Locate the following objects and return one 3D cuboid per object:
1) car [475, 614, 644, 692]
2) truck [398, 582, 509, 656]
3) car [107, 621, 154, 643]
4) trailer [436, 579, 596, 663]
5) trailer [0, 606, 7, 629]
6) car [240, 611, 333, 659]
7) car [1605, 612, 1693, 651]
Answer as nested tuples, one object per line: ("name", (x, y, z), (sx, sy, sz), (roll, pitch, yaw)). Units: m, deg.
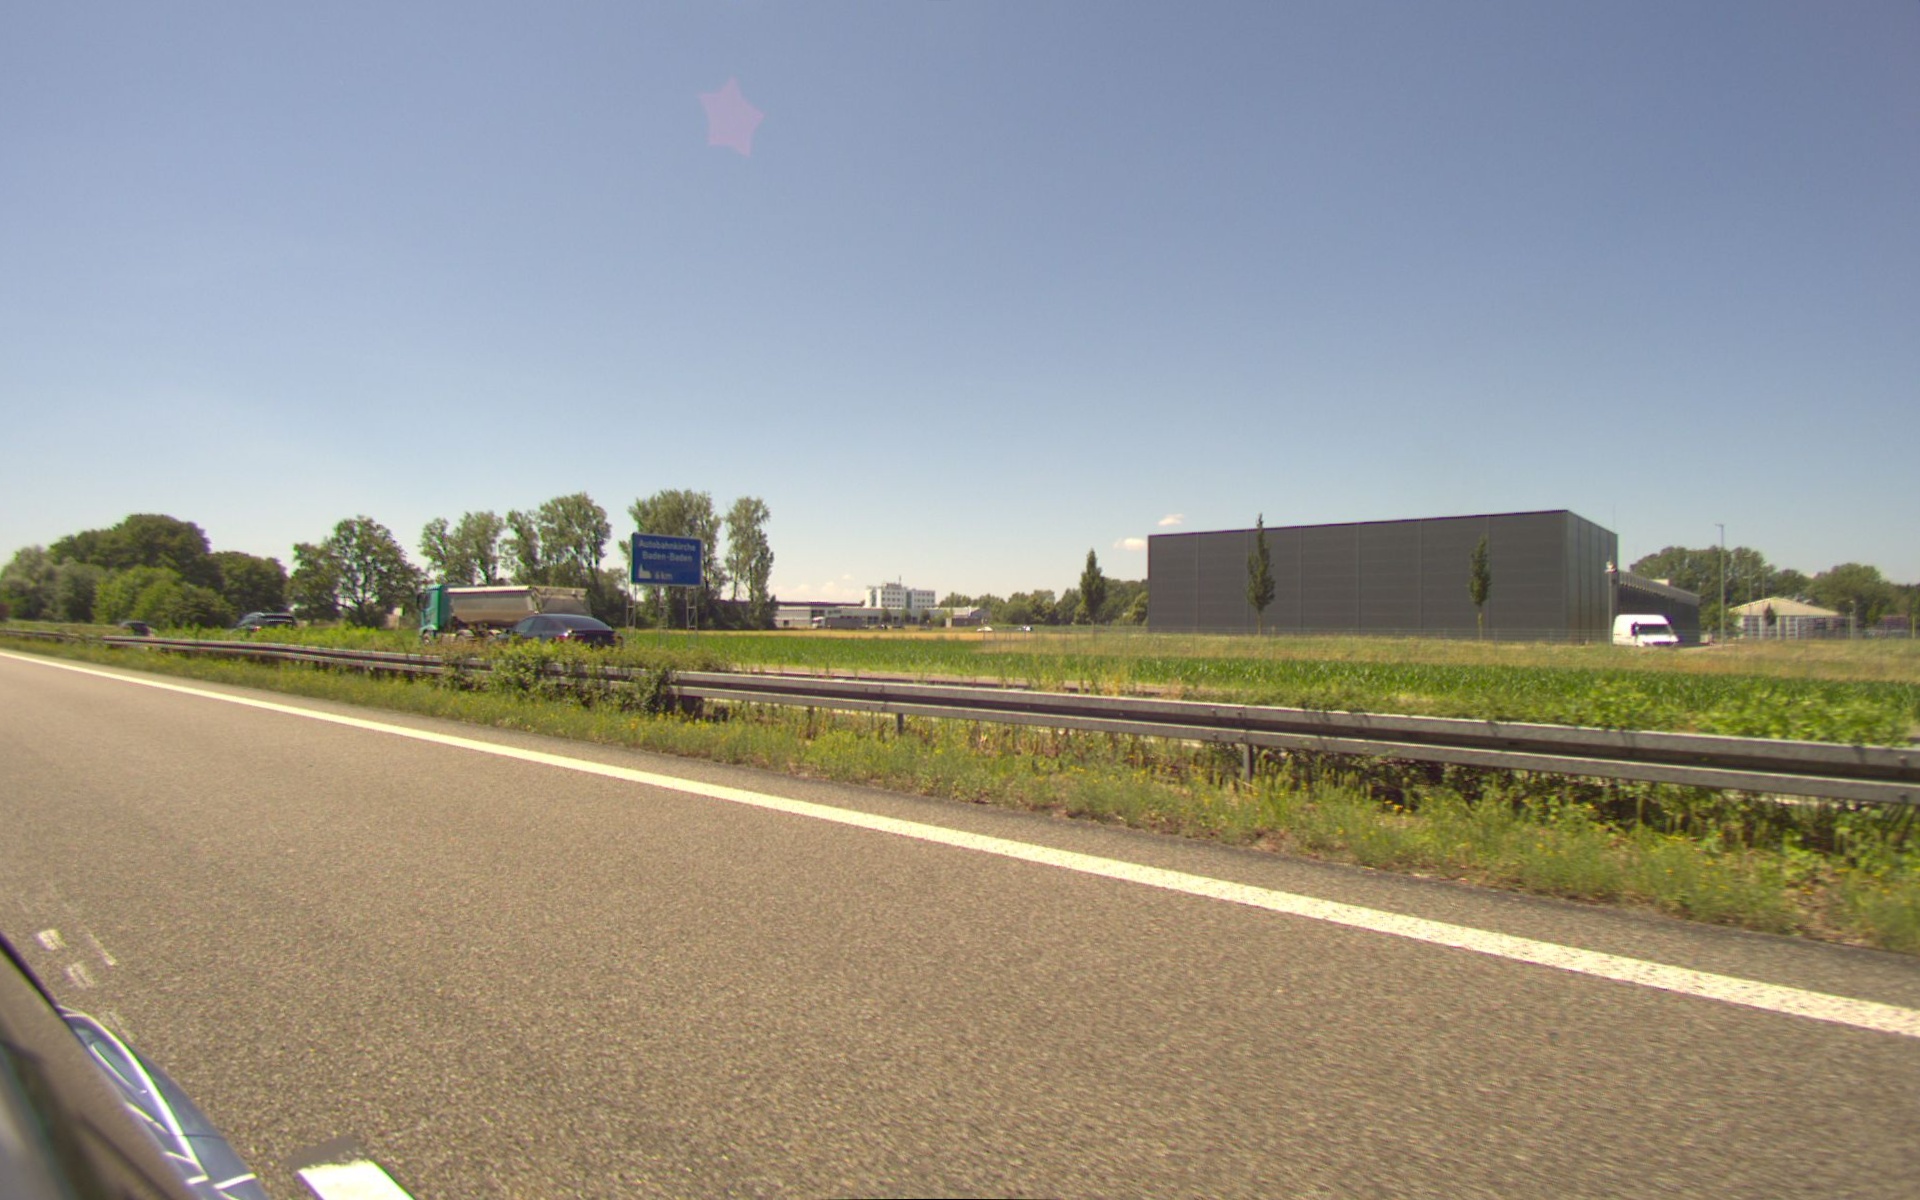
("car", (-10.223, 1.274, 25.664), (4.840, 1.792, 2.006), (-1, -2, 41))
("truck", (-23.887, 0.905, 47.636), (5.835, 3.275, 2.669), (-1, -2, 41))
("car", (-65.925, 2.518, 80.403), (5.661, 1.652, 1.972), (-1, -3, 41))
("trailer", (-19.300, 0.866, 43.592), (9.254, 3.262, 2.647), (-1, -1, 41))
("trailer", (-167.401, 3.038, 174.998), (8.656, 3.950, 2.631), (-1, -4, 41))
("car", (-26.380, 1.352, 39.568), (4.719, 1.756, 1.849), (-1, -2, 41))
("car", (41.301, 1.911, 60.857), (2.085, 2.194, 5.594), (0, -2, 8))
